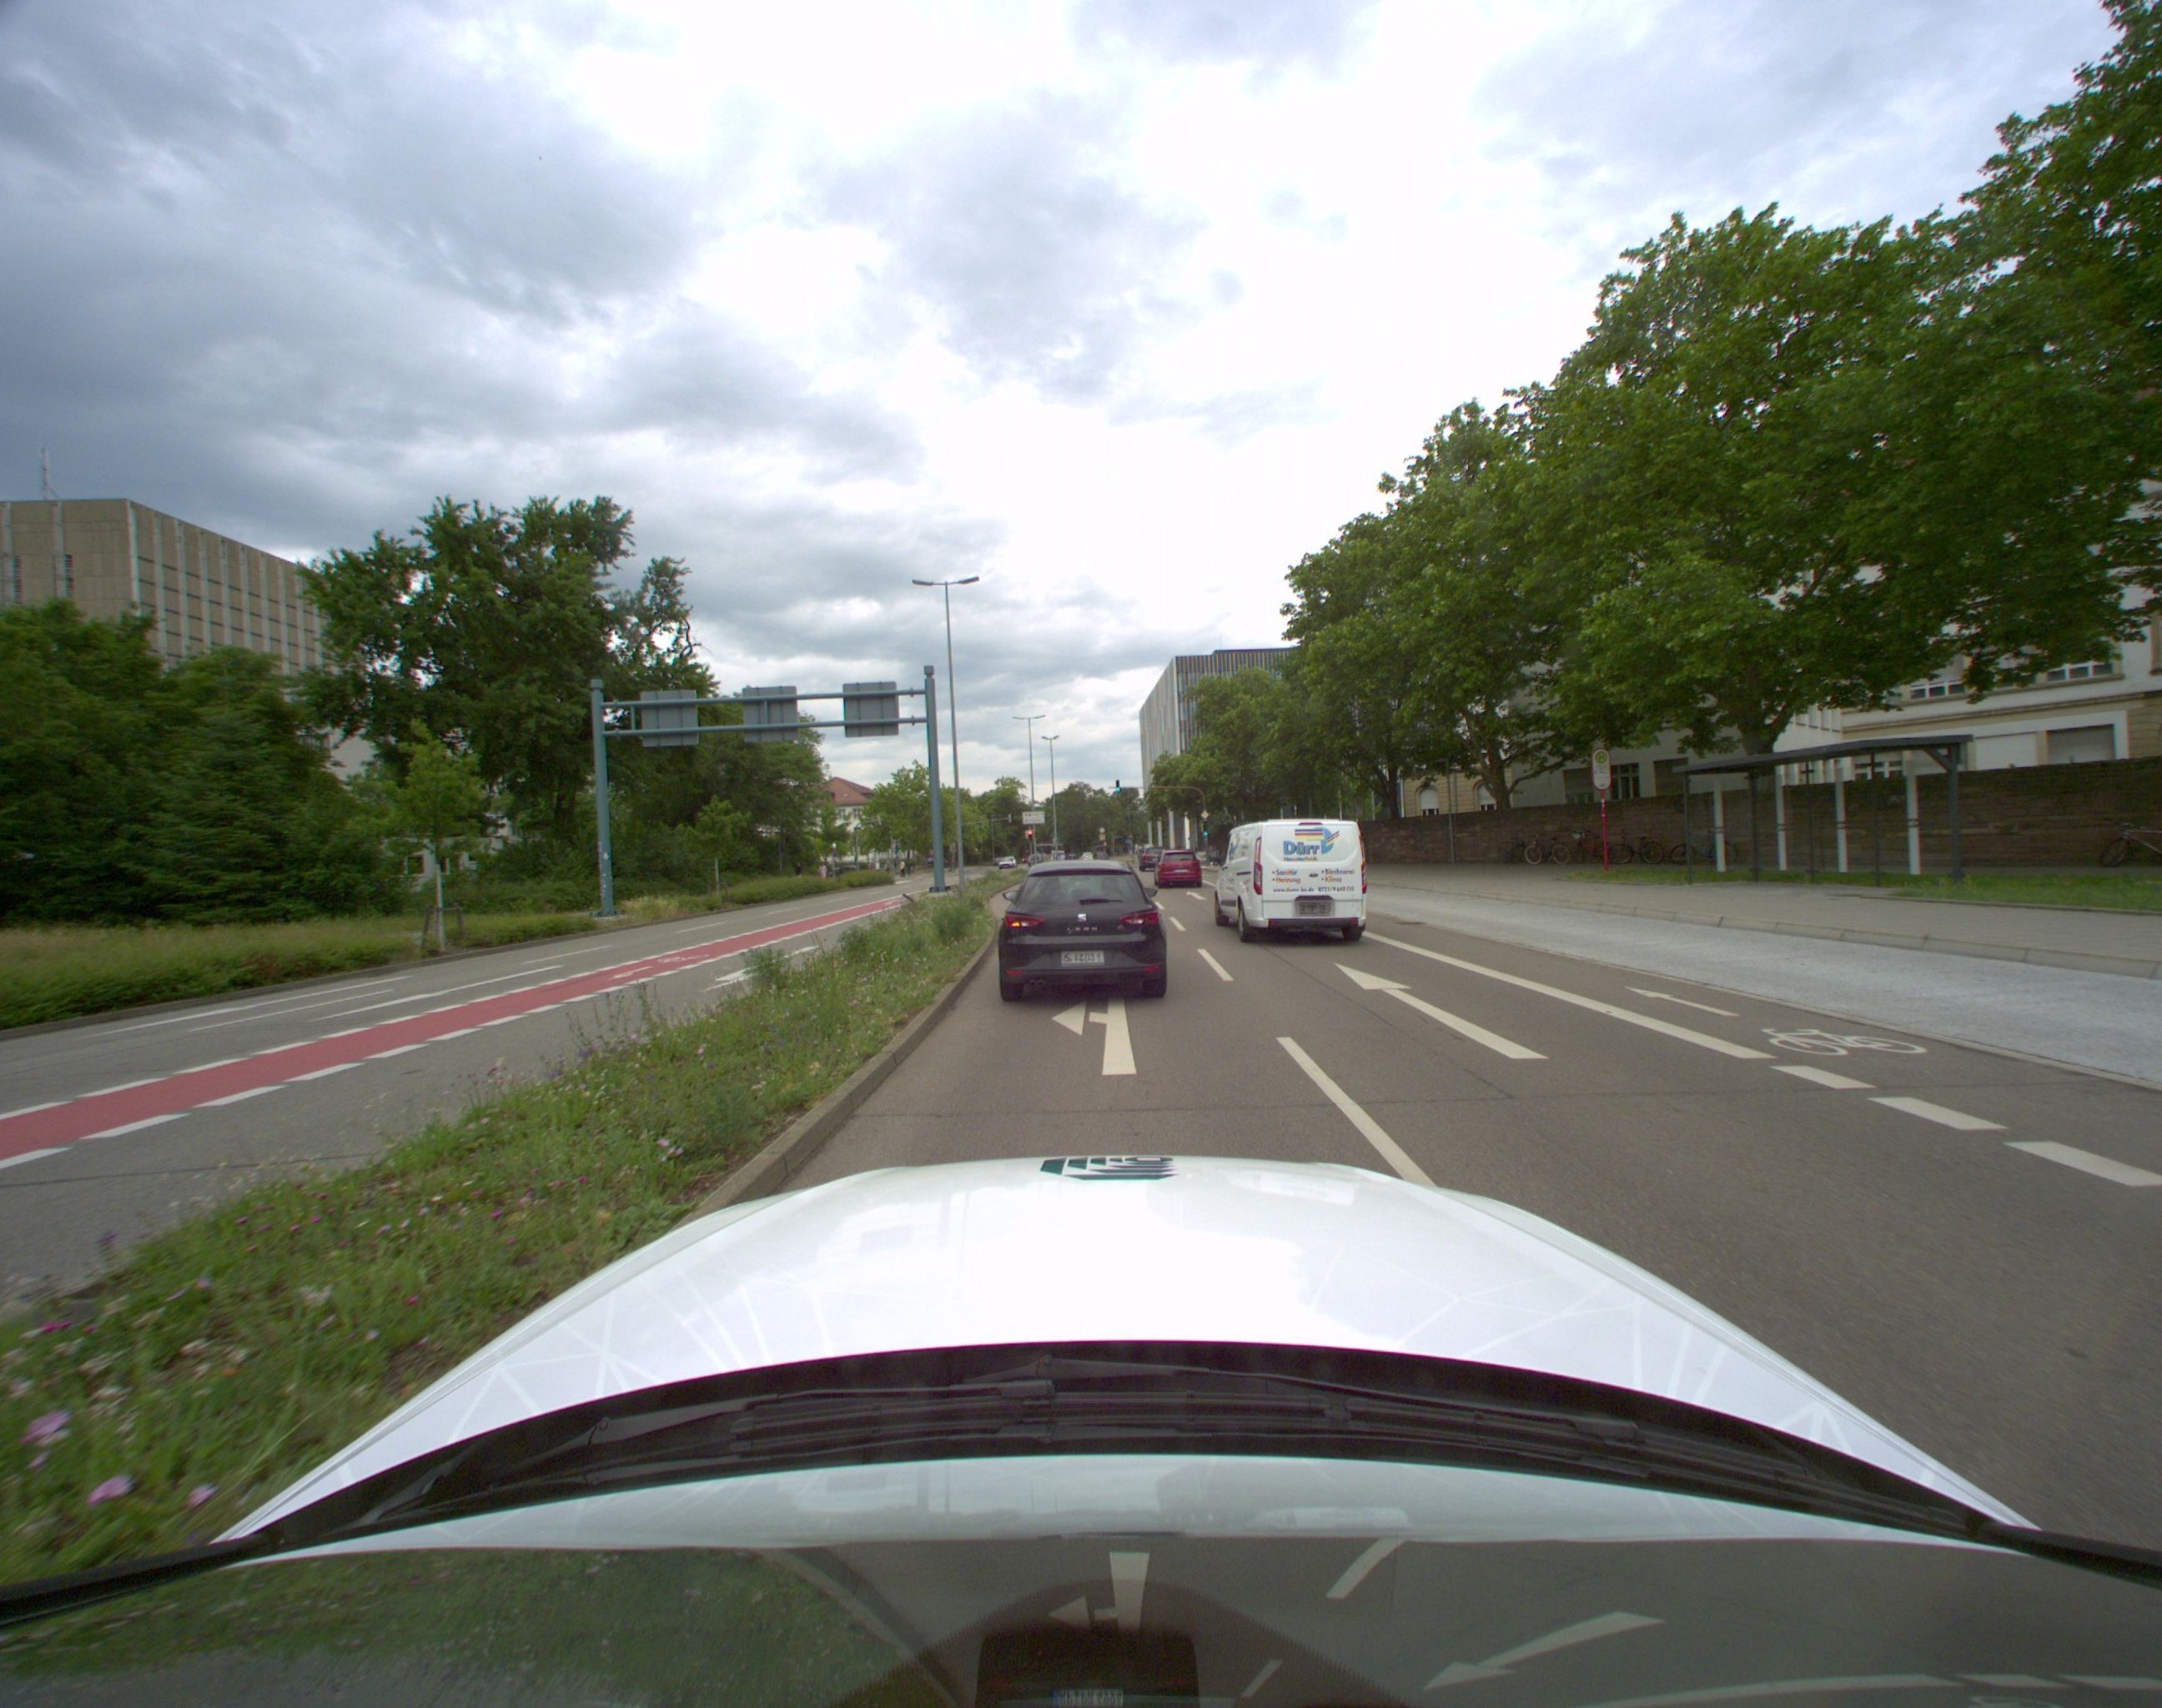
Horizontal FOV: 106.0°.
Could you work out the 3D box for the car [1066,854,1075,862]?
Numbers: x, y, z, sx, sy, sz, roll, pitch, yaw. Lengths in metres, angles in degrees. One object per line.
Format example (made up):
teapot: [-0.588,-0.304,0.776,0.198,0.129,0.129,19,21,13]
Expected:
car: [-1.838,0.661,142.598,1.501,1.193,3.161,-4,1,-2]

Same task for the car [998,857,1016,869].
car: [-9.072,1.096,100.270,1.602,1.381,3.810,-4,1,2]

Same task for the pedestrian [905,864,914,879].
pedestrian: [-18.336,1.856,86.992,0.791,1.558,0.695,-3,-3,-19]

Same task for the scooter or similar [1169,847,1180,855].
scooter or similar: [14.497,-0.464,126.551,1.682,1.106,0.494,-5,1,-30]

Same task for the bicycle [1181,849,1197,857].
bicycle: [13.826,-0.107,104.420,1.892,0.898,0.693,-5,1,-20]

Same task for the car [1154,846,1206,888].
car: [4.147,0.506,34.688,1.941,1.624,3.753,-2,1,4]

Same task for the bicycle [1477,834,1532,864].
bicycle: [16.791,-0.191,32.316,0.722,1.100,1.776,-5,1,-28]

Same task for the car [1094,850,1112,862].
car: [2.731,0.231,100.086,1.894,1.354,3.880,-4,1,-2]

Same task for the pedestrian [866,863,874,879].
pedestrian: [-21.855,1.760,84.403,0.572,1.526,0.842,-3,-4,-22]

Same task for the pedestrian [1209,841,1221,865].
pedestrian: [9.948,-0.060,60.509,0.459,1.739,0.550,-5,0,-37]

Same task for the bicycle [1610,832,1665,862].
bicycle: [18.410,-0.208,26.974,0.416,0.942,1.517,-4,1,-16]

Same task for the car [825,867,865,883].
car: [-24.433,2.175,84.469,3.649,1.223,1.562,-2,7,-5]

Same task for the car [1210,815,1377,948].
car: [3.560,0.402,14.505,1.959,1.972,4.346,-1,0,2]

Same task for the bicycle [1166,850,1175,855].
bicycle: [14.531,-0.238,132.438,1.368,0.705,0.417,-4,0,4]

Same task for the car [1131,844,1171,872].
car: [4.685,0.250,55.199,1.912,1.664,4.107,-4,1,-5]

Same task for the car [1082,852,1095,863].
car: [0.980,0.484,114.347,1.611,1.354,3.997,-3,1,-2]

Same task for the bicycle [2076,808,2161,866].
bicycle: [21.826,-0.353,16.687,0.597,1.136,1.699,-5,1,-24]

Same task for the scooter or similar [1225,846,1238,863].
scooter or similar: [11.935,0.038,64.618,0.428,1.179,1.714,-5,0,26]

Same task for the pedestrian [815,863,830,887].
pedestrian: [-18.434,1.485,58.076,0.697,1.636,0.672,-4,0,1]

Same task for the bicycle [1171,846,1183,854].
bicycle: [14.881,-0.604,125.965,1.785,1.211,0.564,-5,1,-32]

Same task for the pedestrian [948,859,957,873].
pedestrian: [-14.910,1.356,94.686,0.873,1.586,0.542,-4,0,-5]

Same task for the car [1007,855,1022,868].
car: [-8.742,0.950,107.190,1.701,1.431,4.223,-4,1,-3]

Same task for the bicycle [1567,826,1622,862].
bicycle: [17.962,-0.334,28.522,0.500,1.221,1.618,-4,1,-16]

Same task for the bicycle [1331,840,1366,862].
bicycle: [14.532,-0.156,44.289,0.849,1.127,1.914,-5,0,-13]

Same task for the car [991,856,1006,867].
car: [-13.658,1.241,135.099,1.899,1.716,4.002,-4,1,2]

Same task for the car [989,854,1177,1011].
car: [0.061,0.748,9.599,1.747,1.432,3.770,-2,0,1]

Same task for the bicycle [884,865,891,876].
bicycle: [-20.463,1.734,86.145,0.667,1.062,1.610,-1,-1,-17]

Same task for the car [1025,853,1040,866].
car: [-6.386,0.748,107.126,1.760,1.460,4.785,-5,0,-3]

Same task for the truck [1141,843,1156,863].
truck: [7.744,-0.152,93.902,1.313,2.243,3.403,-4,1,1]

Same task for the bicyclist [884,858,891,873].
bicyclist: [-20.491,1.207,86.171,0.668,1.635,0.956,-1,-1,-17]

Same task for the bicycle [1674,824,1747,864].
bicycle: [18.913,-0.287,24.505,0.598,1.104,1.644,-4,1,-18]

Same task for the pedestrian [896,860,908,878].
pedestrian: [-18.658,1.549,84.797,0.846,1.739,0.821,-1,-5,-37]

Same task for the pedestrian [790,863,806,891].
pedestrian: [-18.214,1.481,52.417,0.618,1.729,0.818,-4,0,1]

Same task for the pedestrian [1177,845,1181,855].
pedestrian: [14.089,-0.570,116.948,0.469,1.361,0.447,-4,0,11]

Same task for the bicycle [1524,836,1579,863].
bicycle: [17.456,-0.162,30.265,0.655,0.951,1.760,-4,1,-16]

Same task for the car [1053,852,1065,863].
car: [-3.490,0.528,128.577,1.692,1.503,4.005,-4,1,-3]

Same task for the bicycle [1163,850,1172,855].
bicycle: [14.322,-0.217,134.240,1.366,0.705,0.490,-4,0,10]
